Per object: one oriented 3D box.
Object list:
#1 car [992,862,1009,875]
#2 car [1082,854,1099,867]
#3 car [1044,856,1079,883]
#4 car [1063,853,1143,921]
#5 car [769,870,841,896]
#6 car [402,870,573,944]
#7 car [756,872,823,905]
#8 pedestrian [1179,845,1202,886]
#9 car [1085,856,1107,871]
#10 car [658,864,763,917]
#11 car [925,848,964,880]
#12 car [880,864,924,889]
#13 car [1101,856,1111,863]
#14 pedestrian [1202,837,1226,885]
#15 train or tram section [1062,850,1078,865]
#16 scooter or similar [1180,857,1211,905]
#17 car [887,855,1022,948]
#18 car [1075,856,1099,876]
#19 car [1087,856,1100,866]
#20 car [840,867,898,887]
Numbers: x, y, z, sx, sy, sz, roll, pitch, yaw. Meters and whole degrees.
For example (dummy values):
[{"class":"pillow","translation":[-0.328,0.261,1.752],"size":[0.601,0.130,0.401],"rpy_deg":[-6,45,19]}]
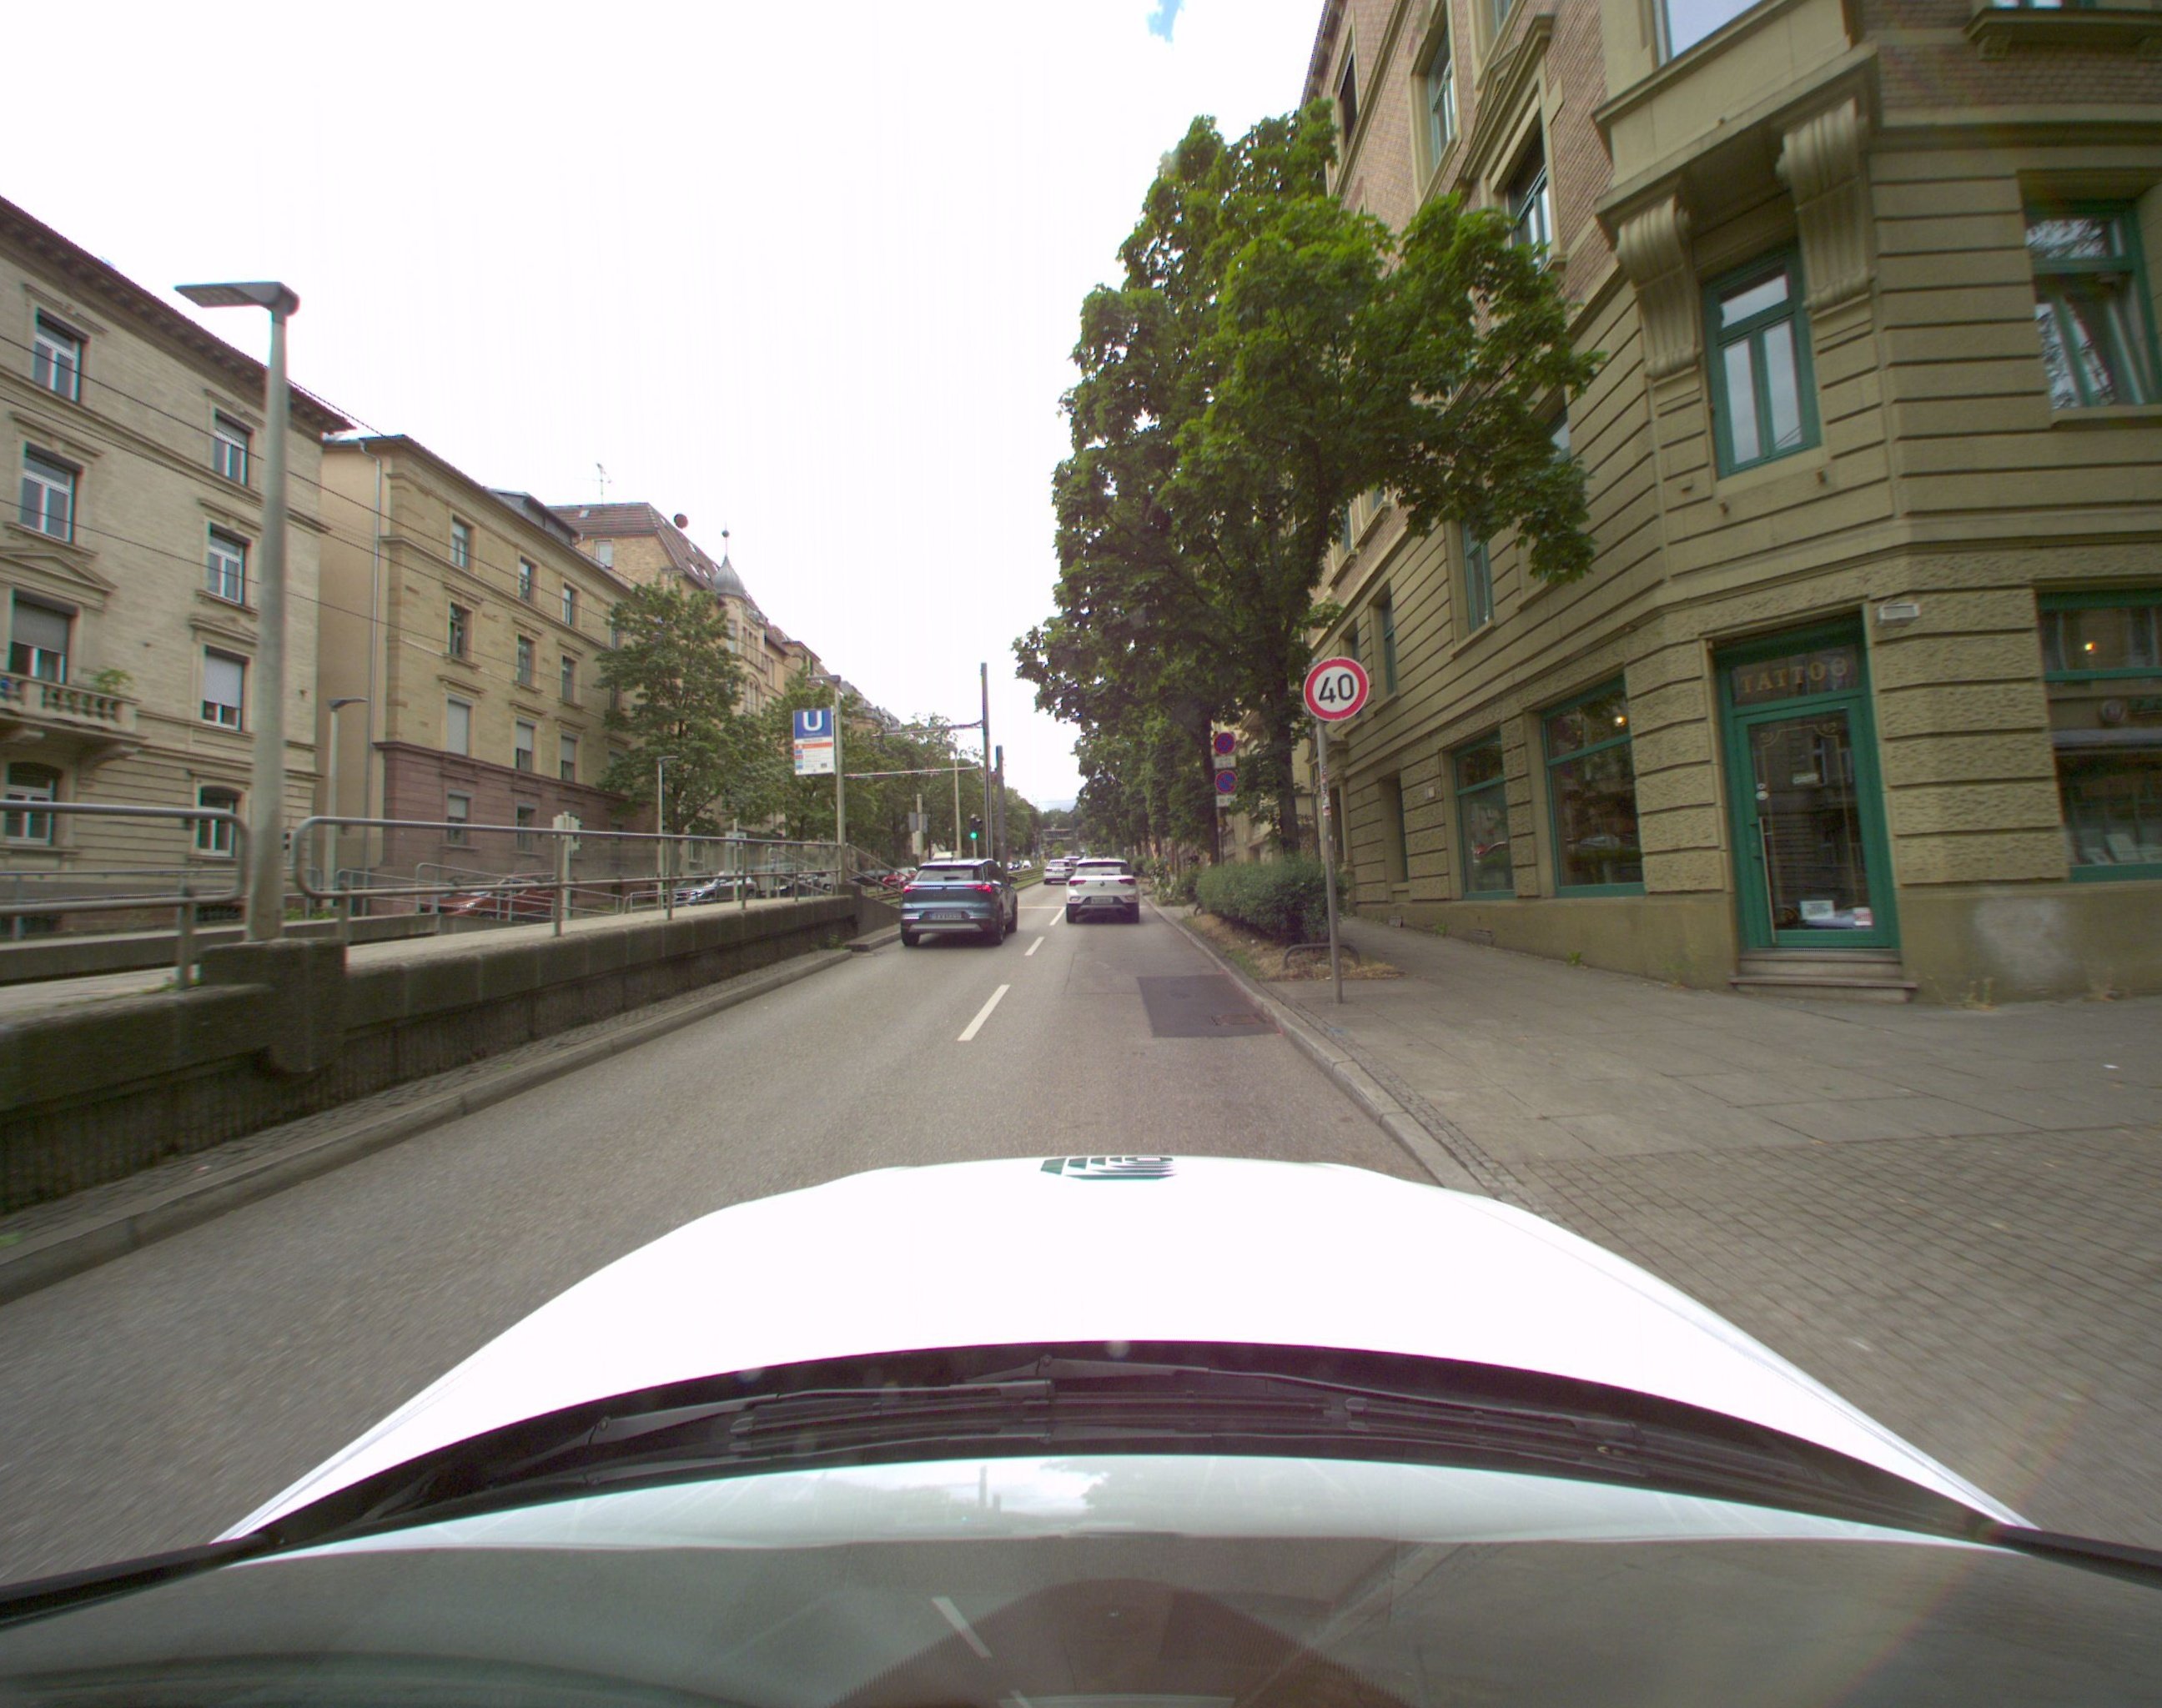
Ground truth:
[{"class":"car","translation":[-11.179,1.982,113.649],"size":[1.774,1.616,4.347],"rpy_deg":[-4,-1,2]},{"class":"car","translation":[1.167,0.778,102.639],"size":[2.062,1.546,4.191],"rpy_deg":[-1,-1,-1]},{"class":"car","translation":[-1.143,0.900,48.810],"size":[1.829,1.546,4.195],"rpy_deg":[-1,-1,2]},{"class":"car","translation":[0.536,0.792,21.001],"size":[1.829,1.546,4.193],"rpy_deg":[-1,-1,1]},{"class":"car","translation":[-17.349,1.809,51.199],"size":[4.012,1.422,1.769],"rpy_deg":[-2,-1,-30]},{"class":"car","translation":[-17.527,1.481,24.342],"size":[1.841,1.860,4.142],"rpy_deg":[-3,0,3]},{"class":"car","translation":[-14.911,1.712,41.853],"size":[1.671,1.447,4.220],"rpy_deg":[-3,0,2]},{"class":"pedestrian","translation":[4.359,0.460,32.433],"size":[0.683,1.574,1.217],"rpy_deg":[-4,0,1]},{"class":"car","translation":[1.557,1.047,86.834],"size":[2.063,1.546,4.190],"rpy_deg":[-1,-1,-2]},{"class":"car","translation":[-13.988,1.307,31.050],"size":[1.702,1.735,4.578],"rpy_deg":[-3,0,2]},{"class":"car","translation":[-12.519,0.905,75.237],"size":[2.385,2.699,6.516],"rpy_deg":[-4,-1,0]},{"class":"car","translation":[-11.370,1.404,52.017],"size":[1.568,1.377,3.662],"rpy_deg":[-3,0,7]},{"class":"car","translation":[6.090,1.369,196.464],"size":[2.063,1.546,4.189],"rpy_deg":[-1,-1,-2]},{"class":"pedestrian","translation":[5.299,0.290,32.415],"size":[0.683,1.829,1.122],"rpy_deg":[-4,-1,1]},{"class":"train or tram section","translation":[-2.606,0.851,198.688],"size":[2.984,3.349,13.446],"rpy_deg":[-2,-1,3]},{"class":"scooter or similar","translation":[3.338,0.771,23.806],"size":[0.659,1.304,1.384],"rpy_deg":[-4,-1,1]},{"class":"car","translation":[-2.302,0.825,15.916],"size":[1.829,1.546,4.195],"rpy_deg":[-1,-1,2]},{"class":"car","translation":[0.535,0.939,65.949],"size":[1.829,1.546,4.195],"rpy_deg":[-1,-1,2]},{"class":"car","translation":[1.931,1.118,129.877],"size":[2.061,1.546,4.193],"rpy_deg":[-1,-1,0]},{"class":"car","translation":[-16.985,1.831,65.256],"size":[4.195,1.364,1.696],"rpy_deg":[-2,-1,-29]}]
